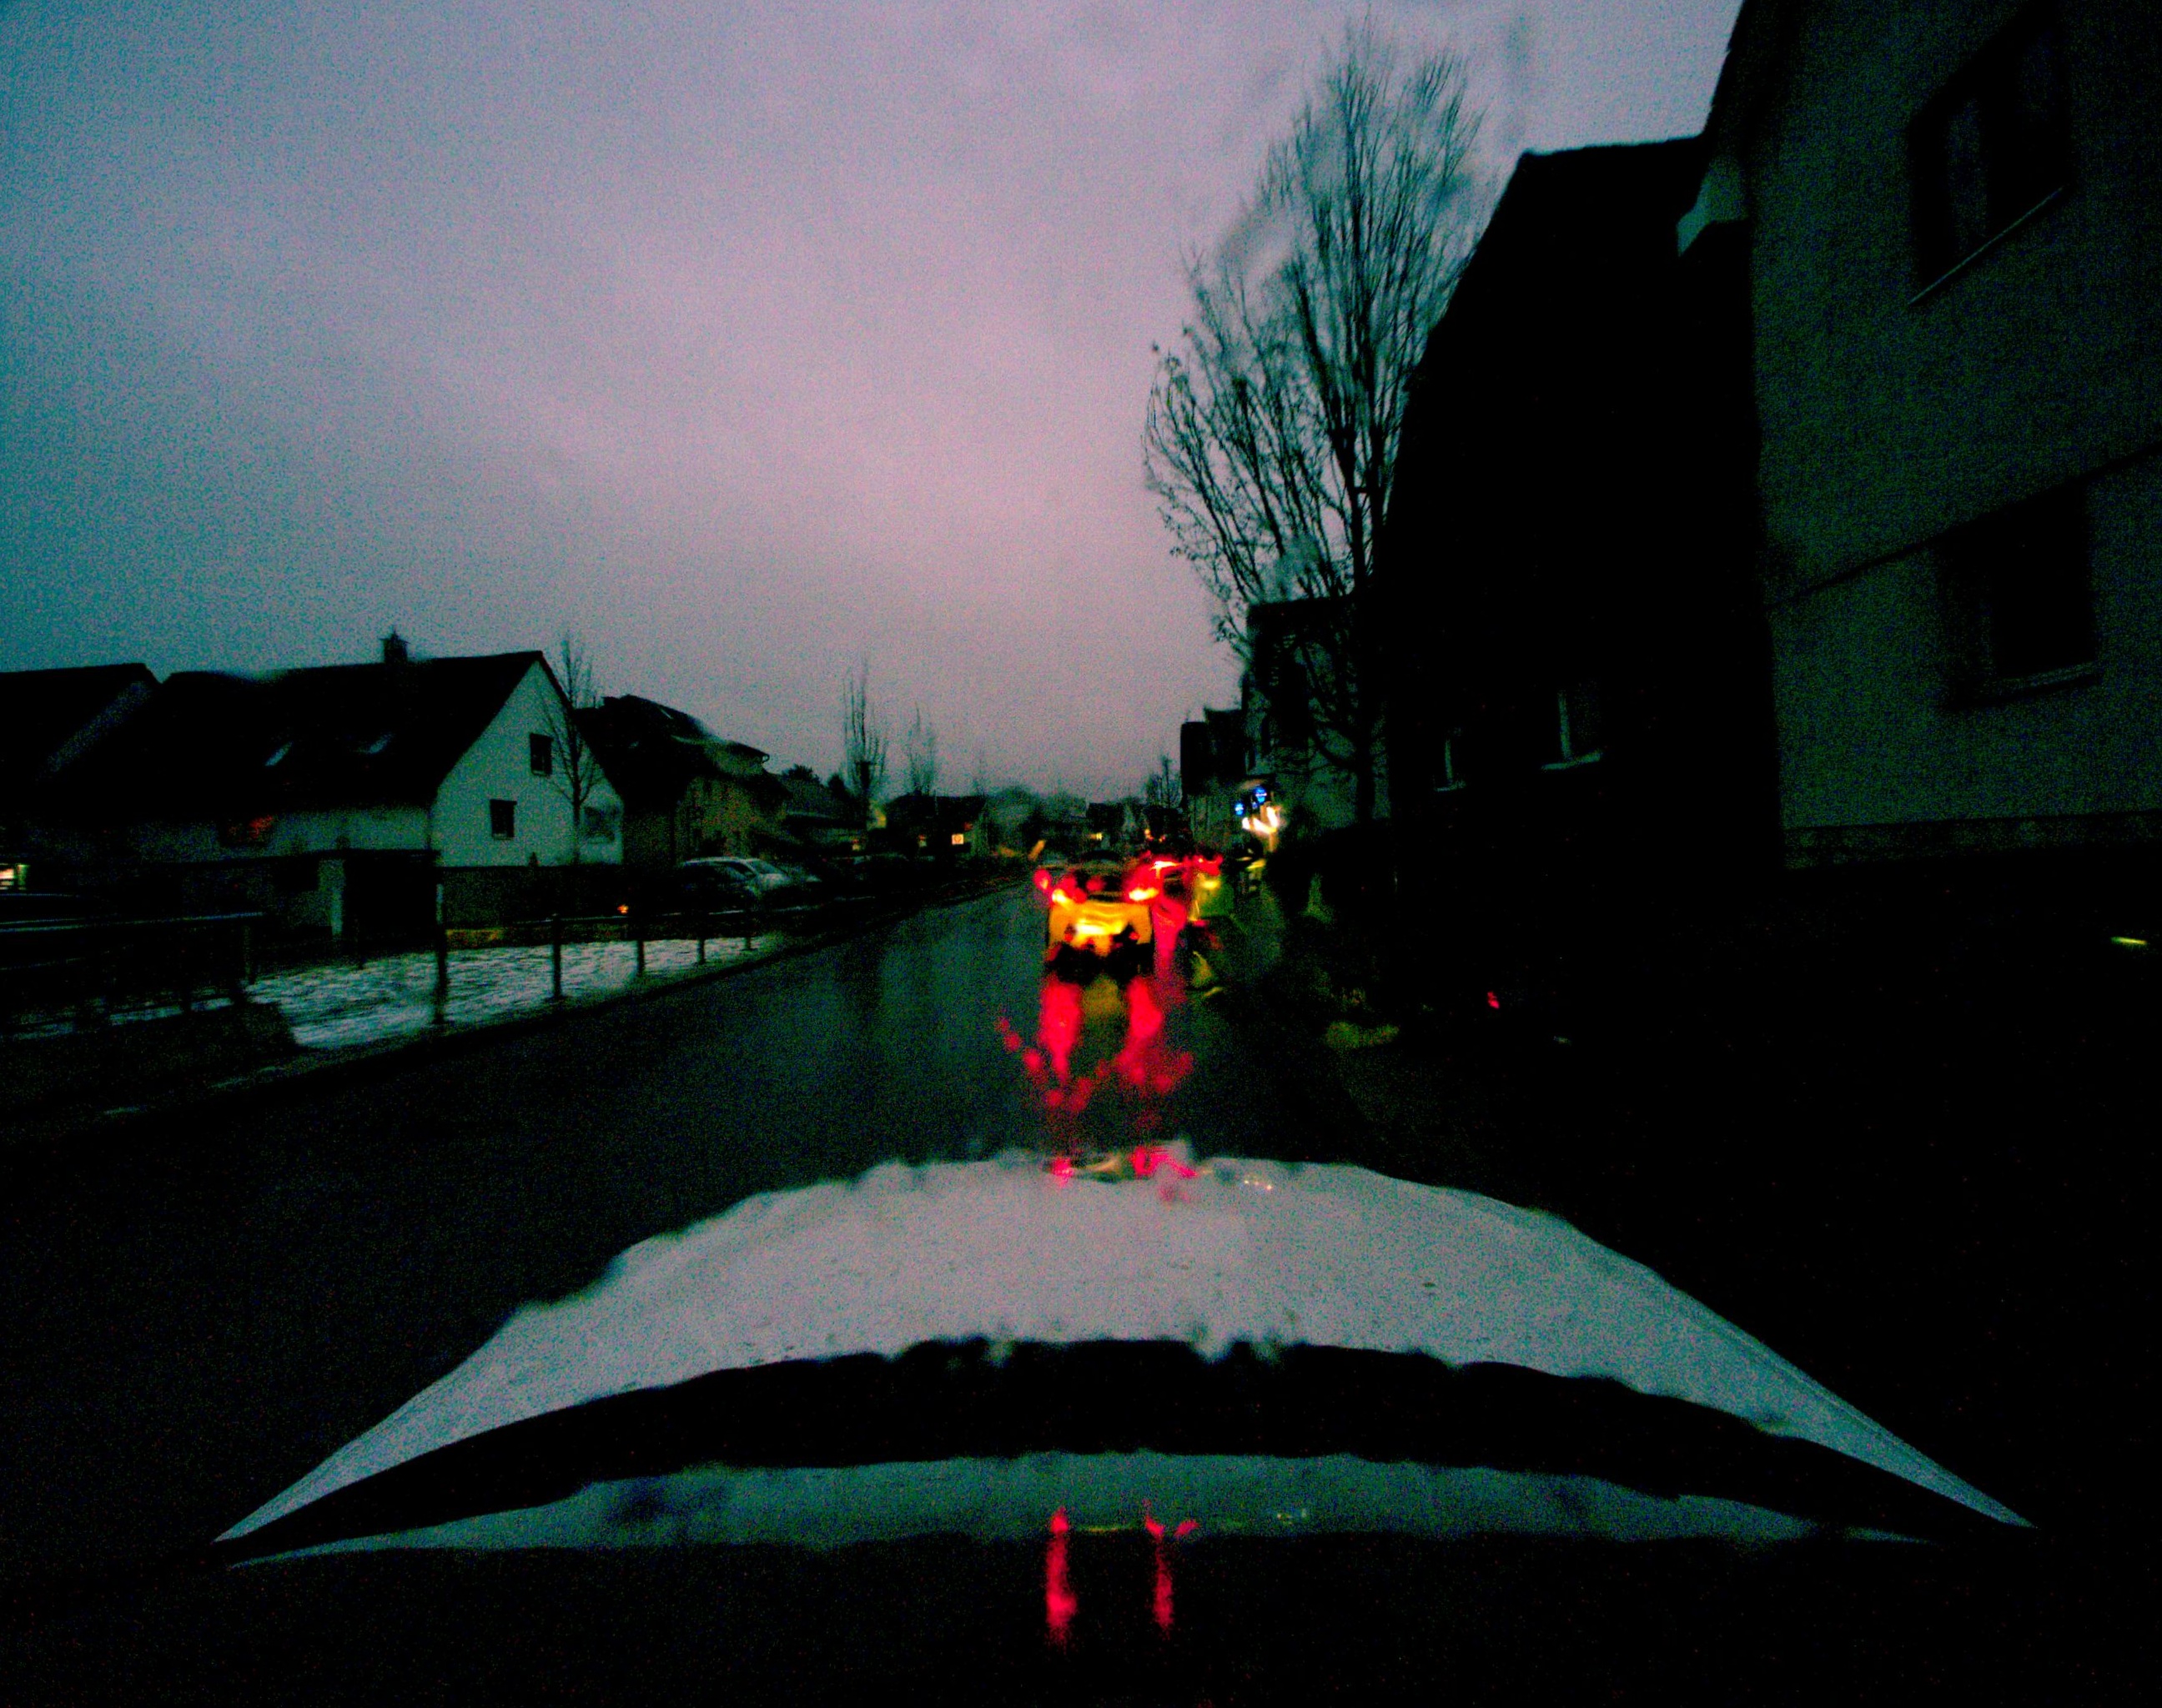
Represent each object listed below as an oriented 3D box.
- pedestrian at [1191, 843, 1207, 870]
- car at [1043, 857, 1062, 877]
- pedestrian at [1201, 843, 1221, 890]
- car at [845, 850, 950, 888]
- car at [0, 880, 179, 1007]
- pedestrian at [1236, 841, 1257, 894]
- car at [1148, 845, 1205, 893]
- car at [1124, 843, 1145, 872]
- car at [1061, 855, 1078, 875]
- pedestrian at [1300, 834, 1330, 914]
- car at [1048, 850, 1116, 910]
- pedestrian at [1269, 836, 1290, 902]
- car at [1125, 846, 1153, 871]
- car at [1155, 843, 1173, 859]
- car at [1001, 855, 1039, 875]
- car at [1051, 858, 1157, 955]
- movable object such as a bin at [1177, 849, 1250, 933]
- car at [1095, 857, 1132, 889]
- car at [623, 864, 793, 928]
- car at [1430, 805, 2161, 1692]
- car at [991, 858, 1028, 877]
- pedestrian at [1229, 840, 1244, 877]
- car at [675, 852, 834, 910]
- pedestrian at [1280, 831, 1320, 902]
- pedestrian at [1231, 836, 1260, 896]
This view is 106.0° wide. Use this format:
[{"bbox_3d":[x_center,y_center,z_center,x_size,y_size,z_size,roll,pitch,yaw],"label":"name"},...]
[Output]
[{"bbox_3d":[6.717,0.149,46.336,0.618,1.515,0.731,-2,1,-12],"label":"pedestrian"},{"bbox_3d":[-3.016,1.421,86.559,1.913,2.028,3.973,0,-2,0],"label":"car"},{"bbox_3d":[4.865,0.459,30.575,0.571,1.699,0.653,-4,-1,3],"label":"pedestrian"},{"bbox_3d":[-8.815,0.715,39.428,4.612,1.667,1.999,-1,-1,-1],"label":"car"},{"bbox_3d":[-14.289,1.217,9.672,1.794,1.482,4.577,-4,0,4],"label":"car"},{"bbox_3d":[5.223,0.407,25.651,0.476,1.630,1.023,-3,0,15],"label":"pedestrian"},{"bbox_3d":[3.649,0.549,31.672,1.729,1.692,4.387,-2,0,1],"label":"car"},{"bbox_3d":[4.956,0.370,75.982,1.862,2.469,4.446,-1,-2,3],"label":"car"},{"bbox_3d":[-1.293,1.277,94.480,1.913,2.216,3.973,0,-2,0],"label":"car"},{"bbox_3d":[4.979,0.442,17.361,0.525,1.653,0.956,-1,-3,11],"label":"pedestrian"},{"bbox_3d":[0.099,0.712,24.001,1.759,1.628,3.589,-1,0,3],"label":"car"},{"bbox_3d":[5.514,0.414,22.639,0.525,1.800,0.867,-1,0,11],"label":"pedestrian"},{"bbox_3d":[4.514,0.348,63.436,1.990,1.865,4.085,-1,-1,2],"label":"car"},{"bbox_3d":[10.796,-0.394,106.159,1.858,1.835,4.457,-1,-2,11],"label":"car"},{"bbox_3d":[-7.032,1.304,93.655,2.011,2.167,4.331,2,-3,-44],"label":"car"},{"bbox_3d":[0.386,0.783,13.501,1.557,1.412,3.019,-1,0,2],"label":"car"},{"bbox_3d":[2.458,0.662,15.327,1.124,1.420,1.419,-5,0,4],"label":"movable object such as a bin"},{"bbox_3d":[1.401,0.793,35.810,1.535,1.331,3.312,-1,0,1],"label":"car"},{"bbox_3d":[-9.236,1.020,20.334,3.433,1.372,1.601,-2,0,0],"label":"car"},{"bbox_3d":[2.738,0.641,2.437,1.721,1.464,4.203,-5,0,4],"label":"car"},{"bbox_3d":[-8.002,1.563,90.796,1.833,1.976,4.117,2,-3,-44],"label":"car"},{"bbox_3d":[7.396,0.210,38.745,0.614,1.727,0.503,-1,-3,13],"label":"pedestrian"},{"bbox_3d":[-9.212,0.753,23.124,3.772,1.523,1.718,-1,-1,8],"label":"car"},{"bbox_3d":[5.490,0.315,20.453,0.743,1.679,1.054,-4,-2,8],"label":"pedestrian"},{"bbox_3d":[4.938,0.347,24.409,0.707,1.715,1.038,-3,0,15],"label":"pedestrian"}]
